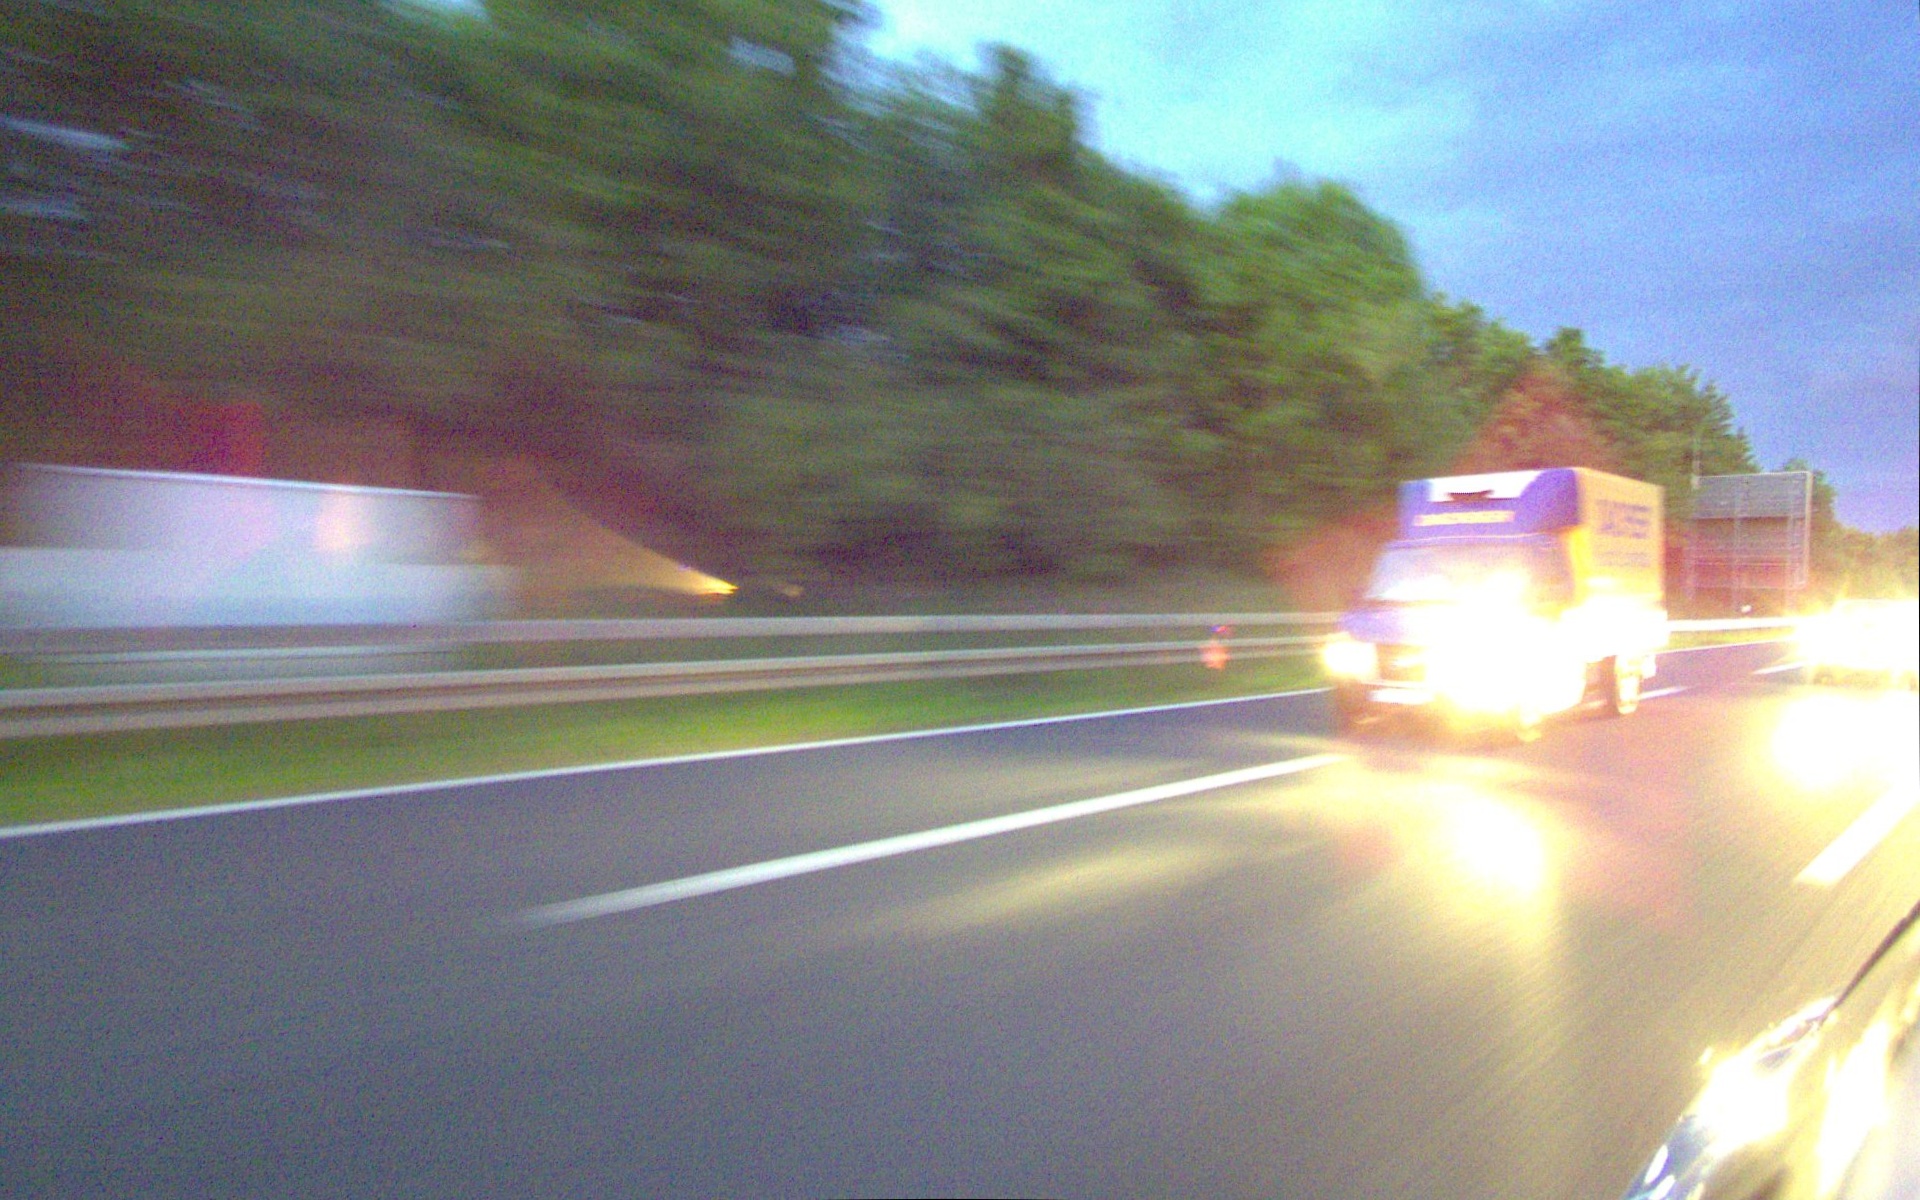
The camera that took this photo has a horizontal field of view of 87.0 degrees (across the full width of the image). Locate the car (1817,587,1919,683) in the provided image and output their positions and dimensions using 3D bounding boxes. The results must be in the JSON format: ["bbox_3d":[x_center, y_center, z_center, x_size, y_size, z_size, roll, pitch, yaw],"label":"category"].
[{"bbox_3d":[17.048,0.580,18.531,3.262,1.574,1.613,-1,3,-42],"label":"car"}]

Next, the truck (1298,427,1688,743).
[{"bbox_3d":[6.945,-0.147,12.699,6.518,3.009,2.271,0,0,-42],"label":"truck"}]
